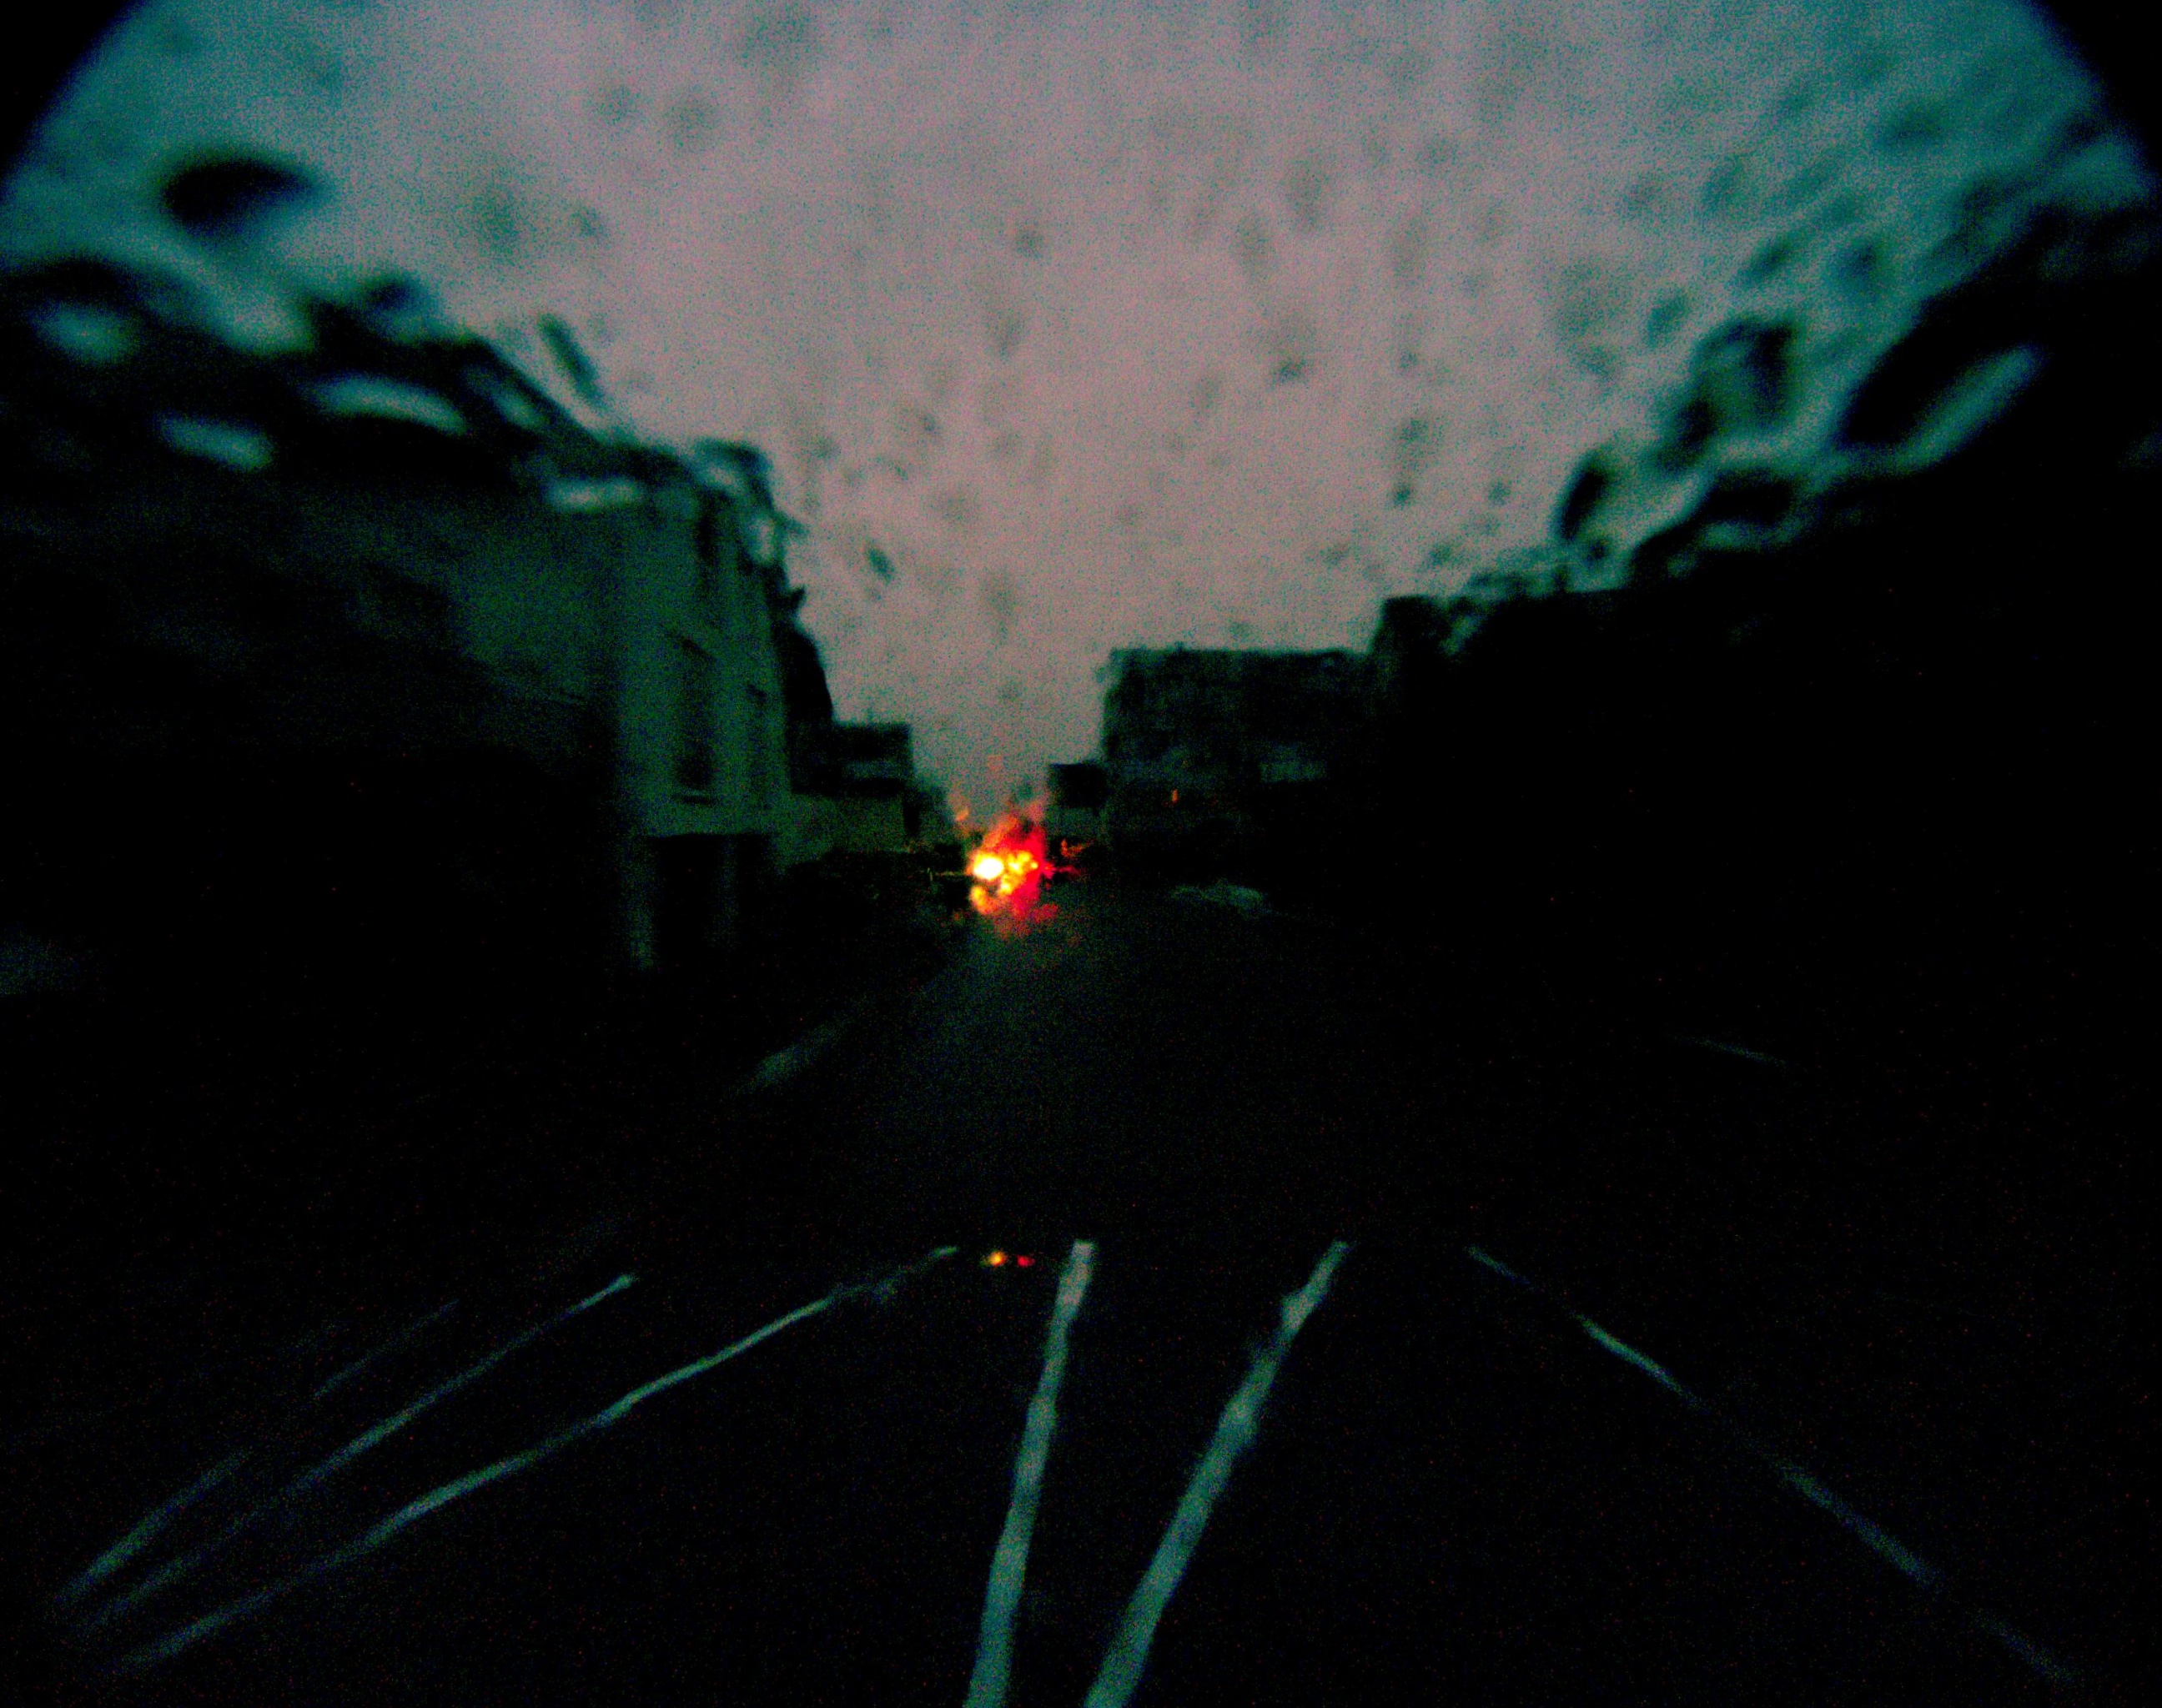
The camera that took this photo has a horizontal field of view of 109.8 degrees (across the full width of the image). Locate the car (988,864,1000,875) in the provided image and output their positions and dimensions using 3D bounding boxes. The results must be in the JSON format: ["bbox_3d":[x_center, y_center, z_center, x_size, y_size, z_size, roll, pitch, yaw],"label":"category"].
[{"bbox_3d":[-14.804,2.613,129.621,1.795,1.763,3.888,1,-1,-4],"label":"car"}]

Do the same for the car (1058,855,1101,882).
[{"bbox_3d":[-0.123,0.806,42.641,1.673,1.401,3.910,0,-1,-11],"label":"car"}]

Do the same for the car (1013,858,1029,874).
[{"bbox_3d":[-7.107,1.460,89.700,1.777,1.781,4.127,1,-2,-6],"label":"car"}]

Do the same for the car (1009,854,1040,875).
[{"bbox_3d":[-4.304,0.786,57.141,1.780,1.486,4.375,1,-1,-12],"label":"car"}]

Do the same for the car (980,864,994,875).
[{"bbox_3d":[-13.451,2.218,108.443,1.757,1.486,4.248,1,-1,-5],"label":"car"}]

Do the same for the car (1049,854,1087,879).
[{"bbox_3d":[-0.840,0.747,46.837,1.670,1.409,3.687,-2,0,-10],"label":"car"}]

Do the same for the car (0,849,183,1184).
[{"bbox_3d":[-7.060,0.541,3.132,4.292,1.448,1.778,8,0,-3],"label":"car"}]

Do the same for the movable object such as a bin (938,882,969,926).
[{"bbox_3d":[-2.983,1.162,17.789,0.616,0.941,0.594,3,2,-3],"label":"movable object such as a bin"}]

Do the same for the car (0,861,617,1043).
[{"bbox_3d":[-6.965,0.825,7.221,4.000,1.448,1.689,1,0,-9],"label":"car"}]

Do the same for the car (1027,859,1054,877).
[{"bbox_3d":[-3.427,1.152,63.571,1.740,1.435,4.435,0,-1,-11],"label":"car"}]
